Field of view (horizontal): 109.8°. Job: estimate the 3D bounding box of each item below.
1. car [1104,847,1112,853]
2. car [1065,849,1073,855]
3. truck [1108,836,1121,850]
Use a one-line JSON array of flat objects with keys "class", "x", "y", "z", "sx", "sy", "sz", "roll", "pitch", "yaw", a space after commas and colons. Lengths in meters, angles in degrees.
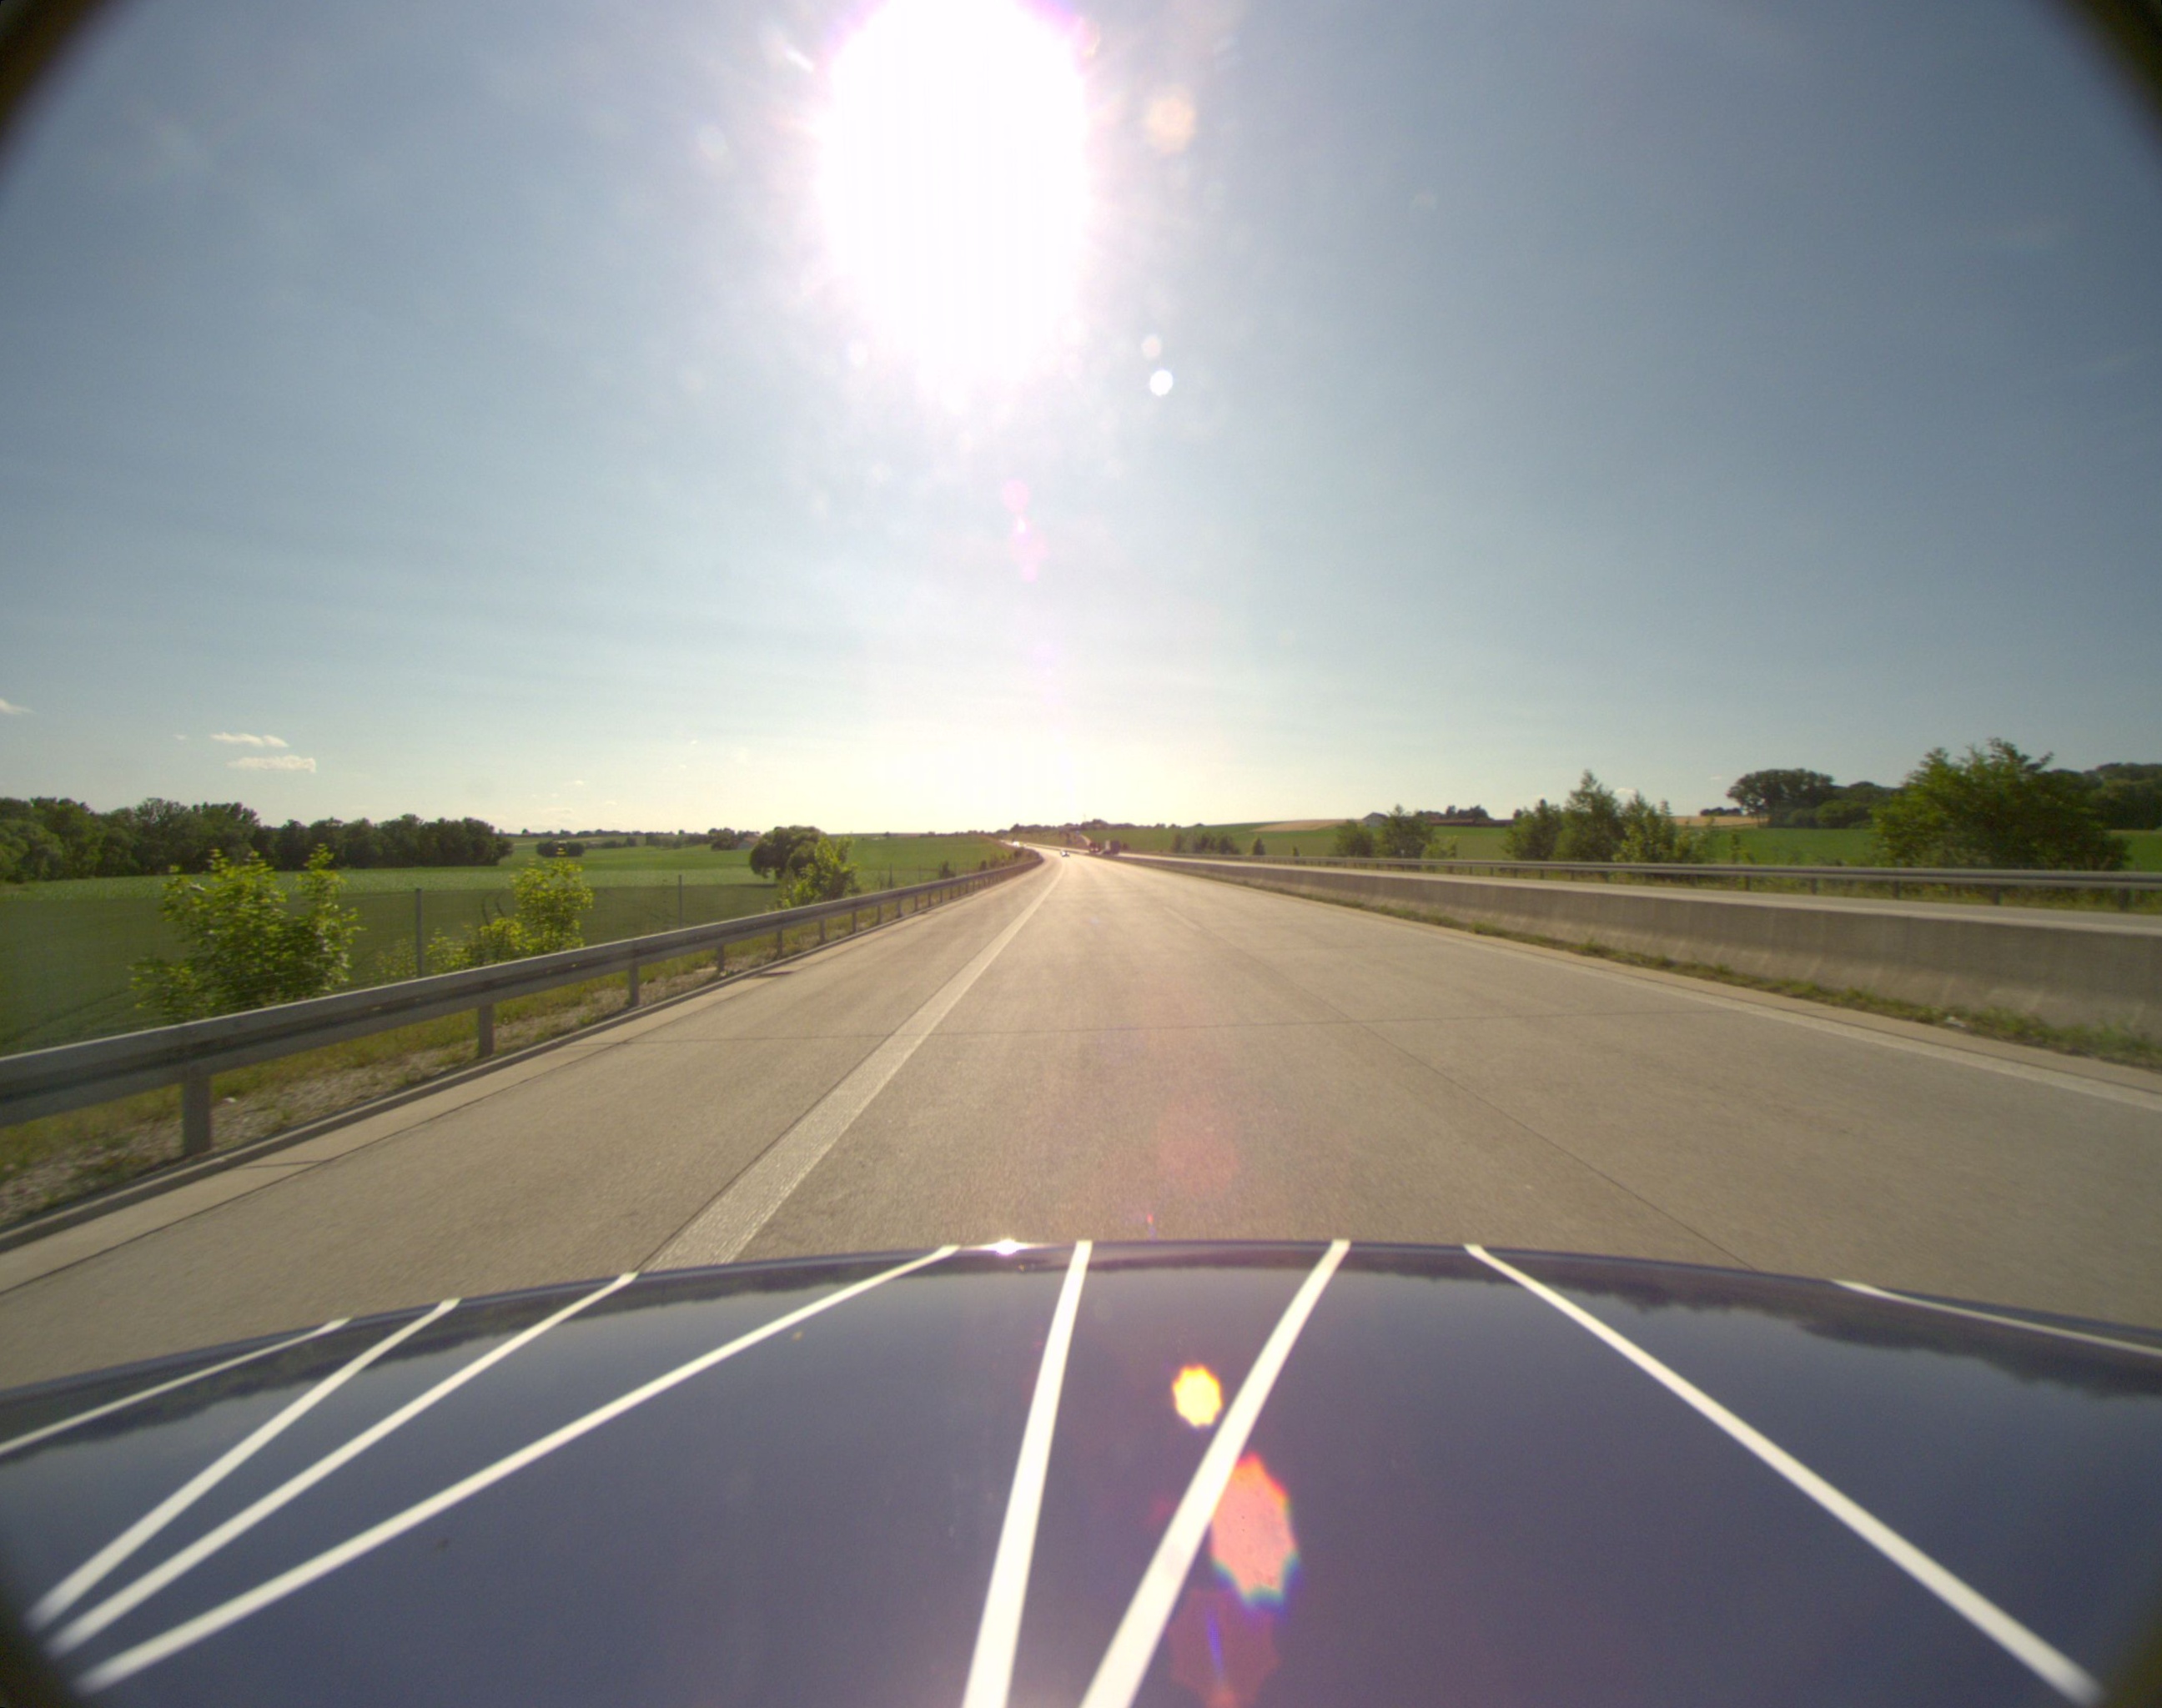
[{"class": "car", "x": 6.915, "y": -1.043, "z": 194.847, "sx": 1.715, "sy": 1.580, "sz": 4.625, "roll": -2, "pitch": 1, "yaw": -2}, {"class": "car", "x": -3.003, "y": -0.509, "z": 190.315, "sx": 1.715, "sy": 1.580, "sz": 4.625, "roll": -2, "pitch": 1, "yaw": -2}, {"class": "truck", "x": 9.739, "y": -3.124, "z": 222.726, "sx": 2.867, "sy": 3.985, "sz": 13.863, "roll": -1, "pitch": 1, "yaw": -2}]
